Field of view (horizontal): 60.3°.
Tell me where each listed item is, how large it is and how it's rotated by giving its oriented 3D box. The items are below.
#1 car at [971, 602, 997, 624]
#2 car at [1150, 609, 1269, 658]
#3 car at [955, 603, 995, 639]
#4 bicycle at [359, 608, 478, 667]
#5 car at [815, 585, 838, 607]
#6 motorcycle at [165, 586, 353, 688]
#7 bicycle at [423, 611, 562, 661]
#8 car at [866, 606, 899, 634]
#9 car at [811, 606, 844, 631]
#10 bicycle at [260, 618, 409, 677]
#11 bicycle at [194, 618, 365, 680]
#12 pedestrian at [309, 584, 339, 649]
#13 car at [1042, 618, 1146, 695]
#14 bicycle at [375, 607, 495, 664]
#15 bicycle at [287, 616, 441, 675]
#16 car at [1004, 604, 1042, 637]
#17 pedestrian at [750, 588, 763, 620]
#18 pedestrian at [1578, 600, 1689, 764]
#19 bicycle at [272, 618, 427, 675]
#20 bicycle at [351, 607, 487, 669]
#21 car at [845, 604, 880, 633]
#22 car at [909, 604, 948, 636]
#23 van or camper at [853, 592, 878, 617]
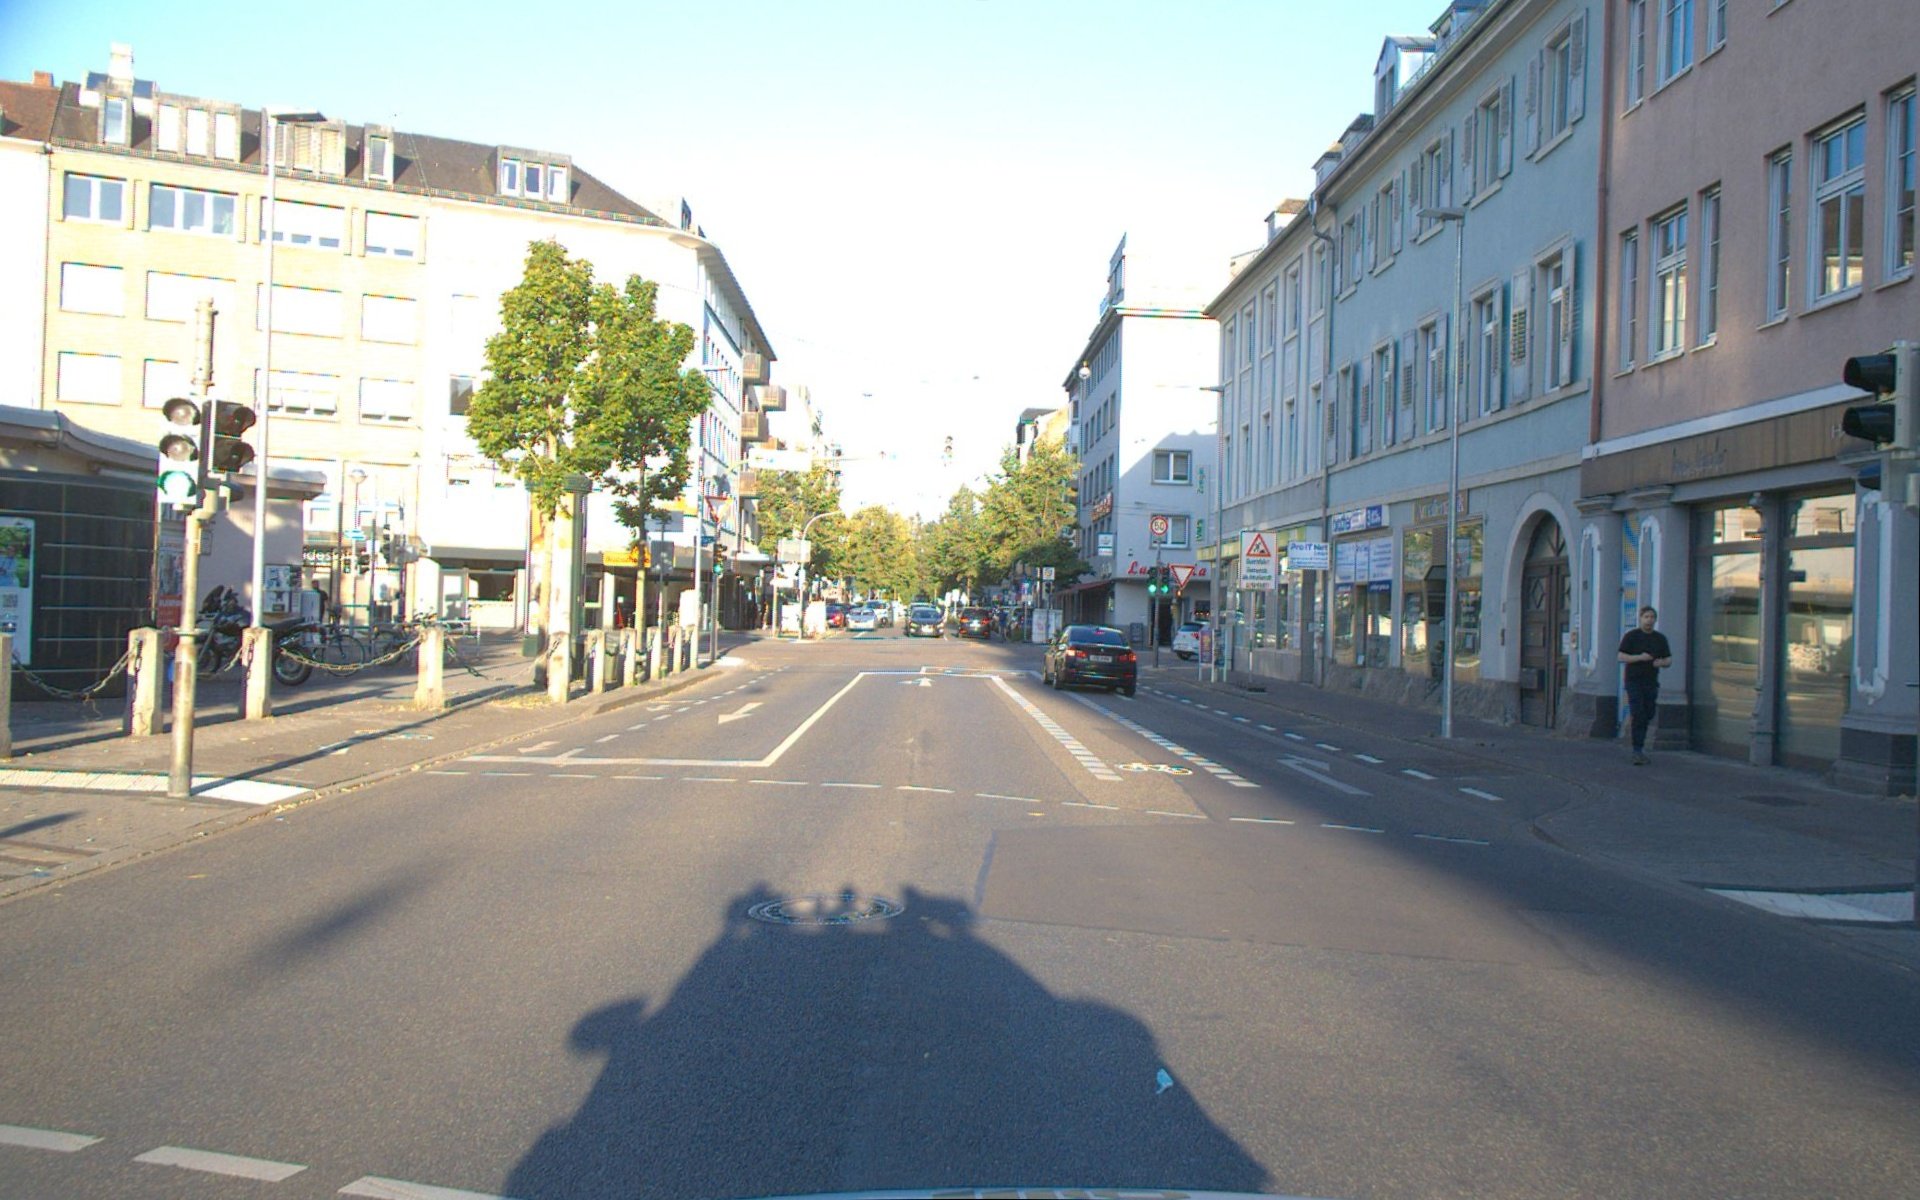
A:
[{"bbox_3d":[1.897,1.050,131.755,1.746,1.624,3.631,2,0,-4],"label":"car"},{"bbox_3d":[9.215,1.236,61.065,3.852,1.632,2.311,2,0,-37],"label":"car"},{"bbox_3d":[0.787,1.085,87.713,1.953,1.780,3.999,2,0,-1],"label":"car"},{"bbox_3d":[-11.307,0.787,34.561,2.191,1.155,0.811,2,0,-4],"label":"bicycle"},{"bbox_3d":[-12.900,-0.349,159.822,1.790,2.049,3.676,2,0,0],"label":"car"},{"bbox_3d":[-10.716,0.558,25.359,2.364,1.451,1.112,2,0,-2],"label":"motorcycle"},{"bbox_3d":[-10.647,0.809,37.716,2.881,1.040,0.843,2,0,1],"label":"bicycle"},{"bbox_3d":[-5.254,1.359,112.718,1.953,1.780,4.000,2,0,0],"label":"car"},{"bbox_3d":[-9.045,1.248,112.907,1.855,1.624,4.000,2,0,0],"label":"car"},{"bbox_3d":[-10.785,0.821,28.569,2.281,0.935,0.700,2,0,-4],"label":"bicycle"},{"bbox_3d":[-11.174,0.799,27.218,2.473,0.935,0.700,2,0,-4],"label":"bicycle"},{"bbox_3d":[-16.344,0.430,42.491,0.543,1.639,0.635,2,-1,-35],"label":"pedestrian"},{"bbox_3d":[2.930,1.211,37.001,1.850,1.518,4.203,2,0,-1],"label":"car"},{"bbox_3d":[-11.247,0.757,35.479,2.276,1.151,0.800,2,0,0],"label":"bicycle"},{"bbox_3d":[-11.029,0.838,30.675,2.473,1.015,0.933,2,0,-4],"label":"bicycle"},{"bbox_3d":[3.603,1.165,95.195,1.953,1.810,3.999,2,0,-1],"label":"car"},{"bbox_3d":[-11.292,0.207,91.944,0.590,1.751,0.575,2,0,-15],"label":"pedestrian"},{"bbox_3d":[7.746,0.923,19.061,0.742,1.808,1.047,2,0,-6],"label":"pedestrian"},{"bbox_3d":[-10.886,0.818,29.560,2.473,0.935,0.700,2,0,-4],"label":"bicycle"},{"bbox_3d":[-10.902,0.754,33.356,2.473,1.166,0.700,2,0,-4],"label":"bicycle"},{"bbox_3d":[-5.906,1.111,100.463,1.855,1.624,4.000,2,0,0],"label":"car"},{"bbox_3d":[-1.599,1.011,85.215,1.846,1.512,4.000,2,0,0],"label":"car"},{"bbox_3d":[-9.778,0.475,170.790,2.424,2.447,3.996,2,0,-5],"label":"van or camper"}]
